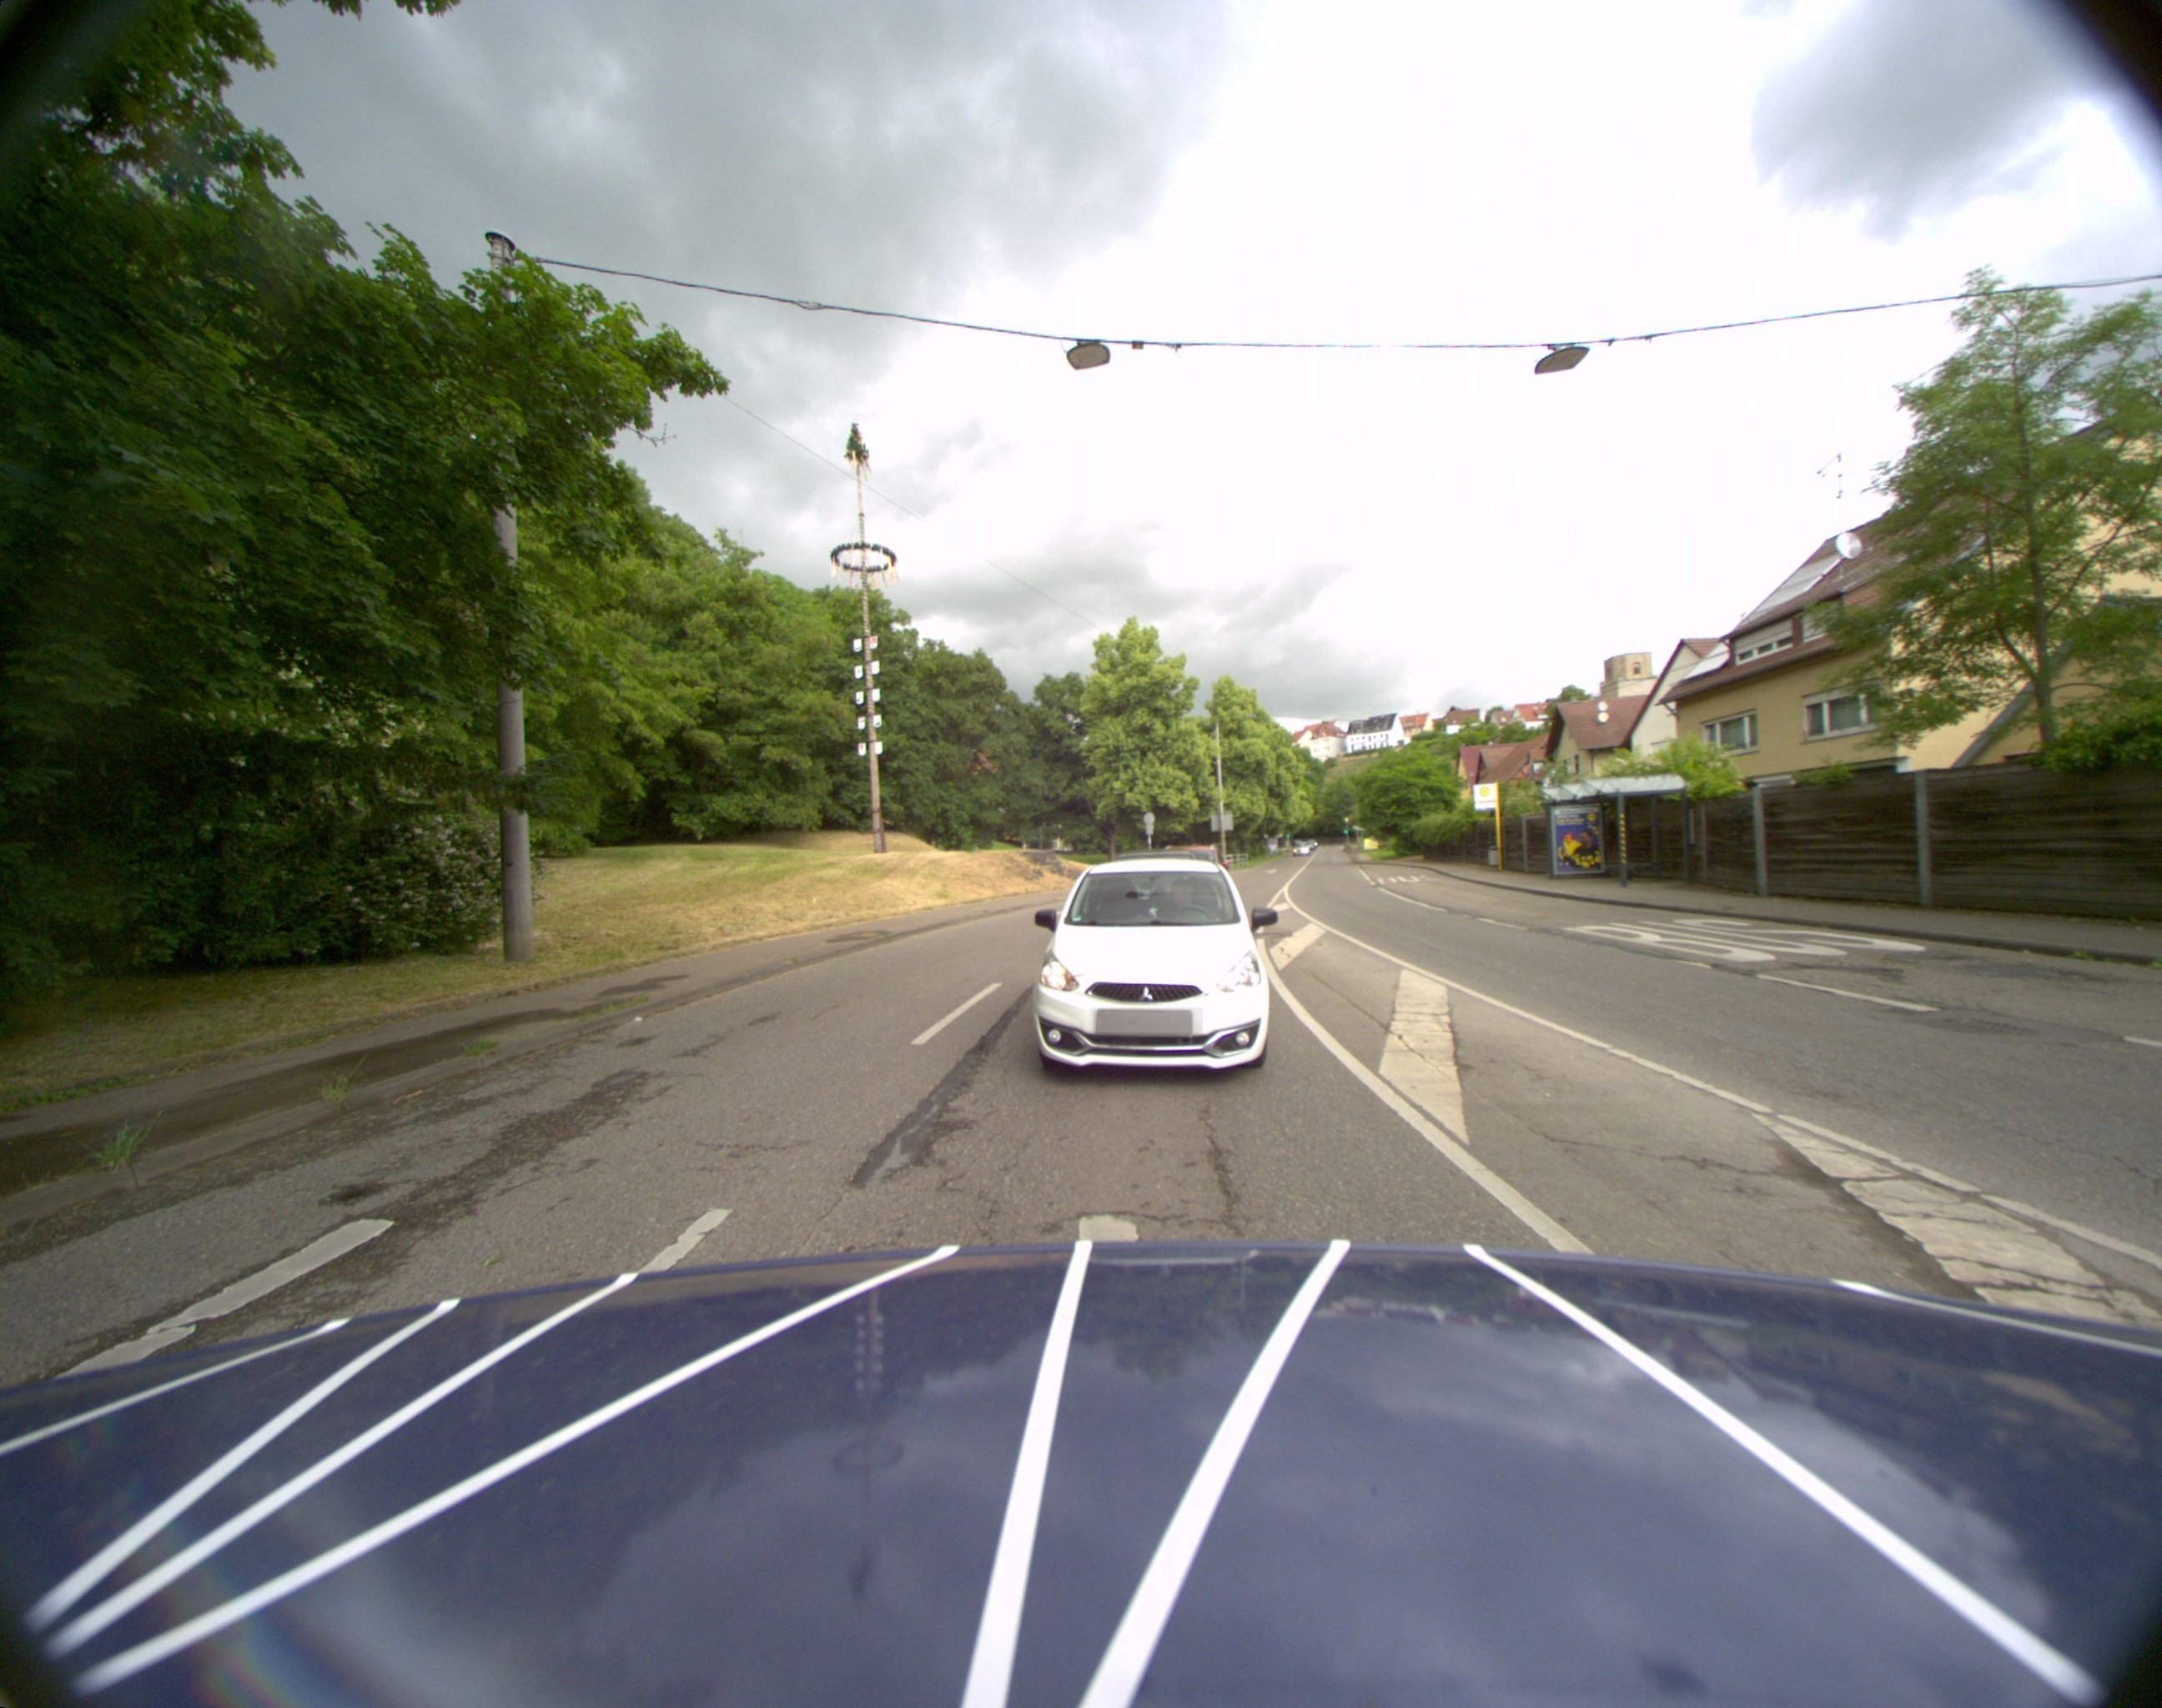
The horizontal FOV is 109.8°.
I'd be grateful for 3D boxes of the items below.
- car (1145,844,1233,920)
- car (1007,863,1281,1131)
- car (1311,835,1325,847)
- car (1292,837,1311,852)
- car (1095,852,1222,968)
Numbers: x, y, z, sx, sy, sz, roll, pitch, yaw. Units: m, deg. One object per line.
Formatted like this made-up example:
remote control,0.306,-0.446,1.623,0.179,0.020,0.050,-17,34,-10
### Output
car,2.862,0.632,19.459,1.826,1.662,4.061,-2,1,13
car,0.644,0.909,6.430,1.617,1.505,3.607,-2,1,9
car,37.193,-2.089,119.433,1.909,1.745,4.004,-3,0,15
car,25.697,-1.122,88.791,1.844,1.630,4.003,-2,1,13
car,1.372,0.795,12.591,1.723,1.539,3.784,-2,1,9
